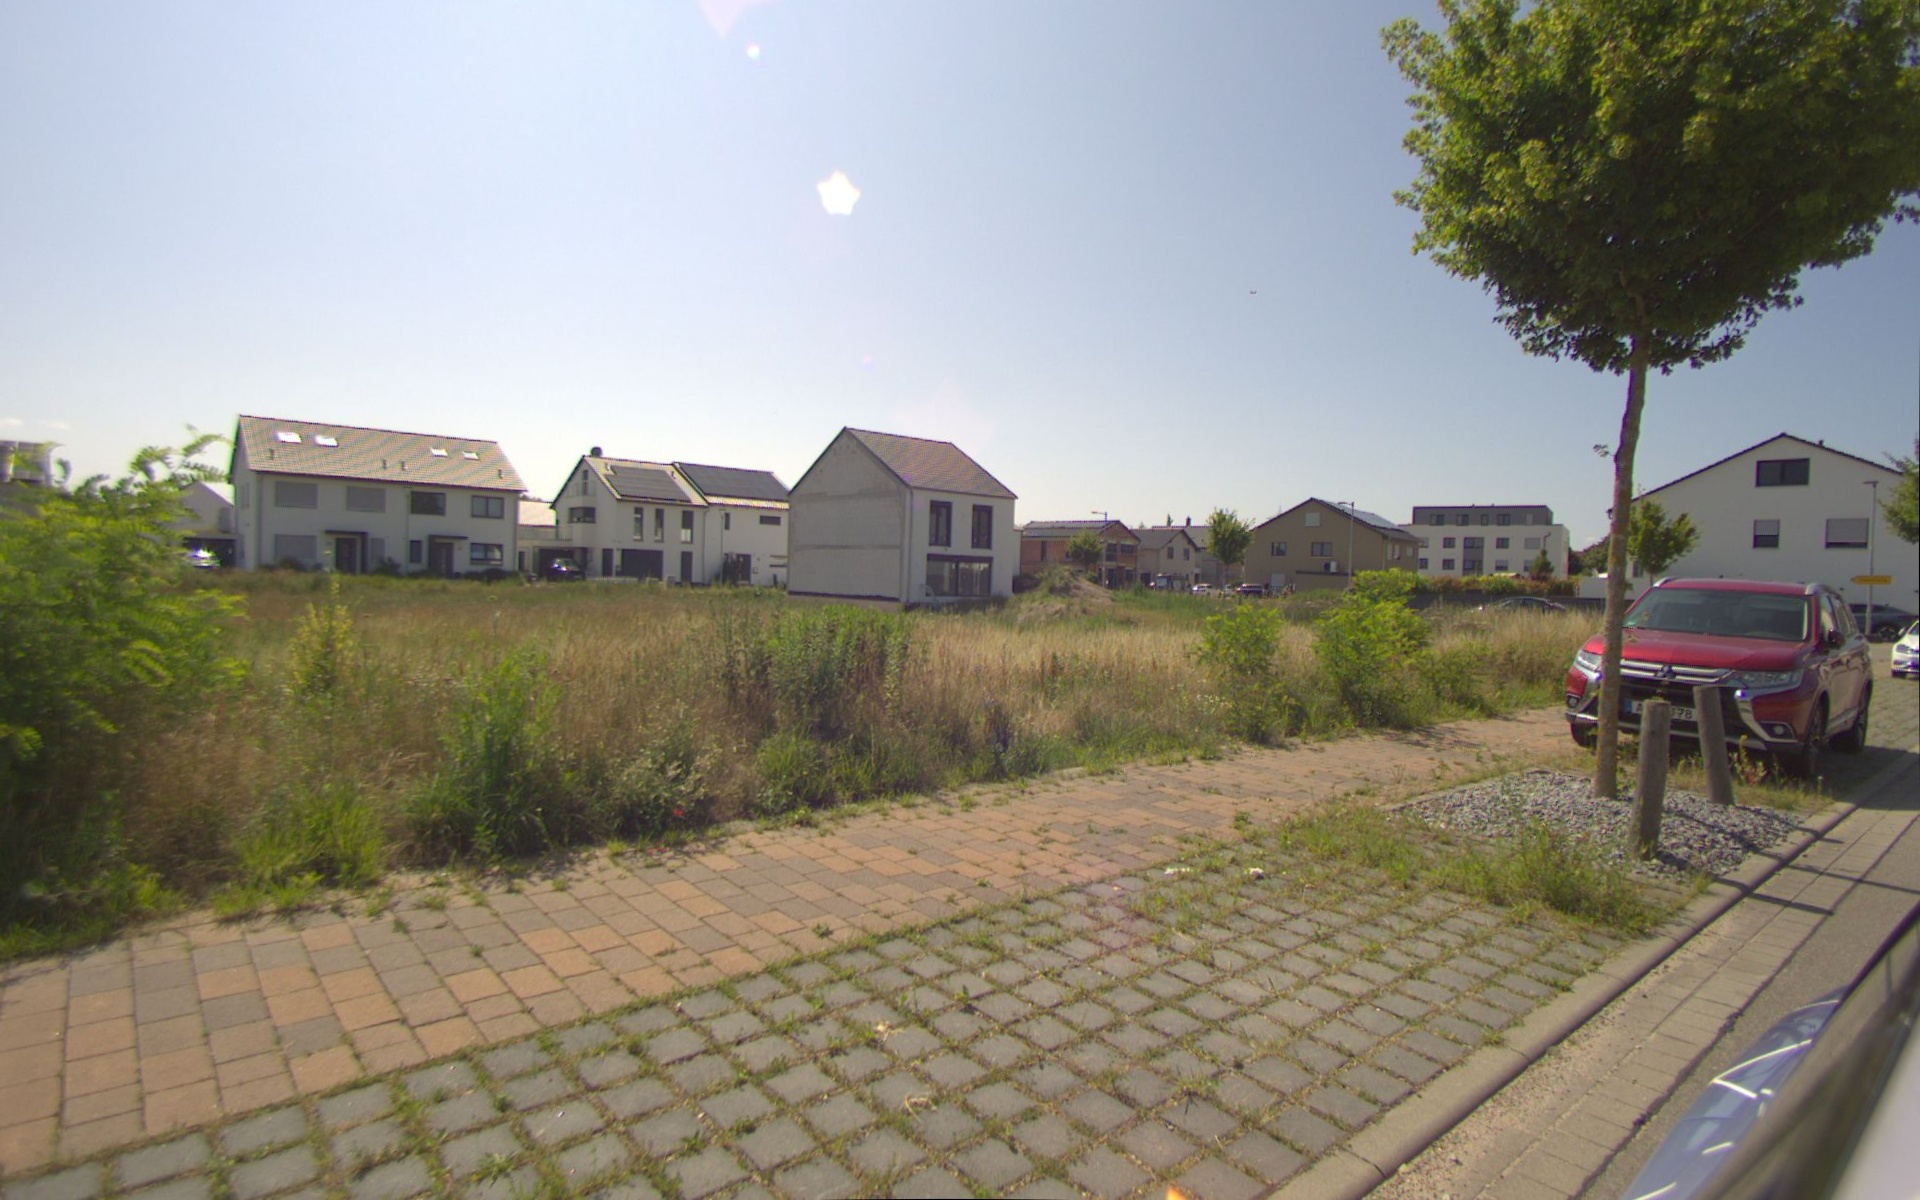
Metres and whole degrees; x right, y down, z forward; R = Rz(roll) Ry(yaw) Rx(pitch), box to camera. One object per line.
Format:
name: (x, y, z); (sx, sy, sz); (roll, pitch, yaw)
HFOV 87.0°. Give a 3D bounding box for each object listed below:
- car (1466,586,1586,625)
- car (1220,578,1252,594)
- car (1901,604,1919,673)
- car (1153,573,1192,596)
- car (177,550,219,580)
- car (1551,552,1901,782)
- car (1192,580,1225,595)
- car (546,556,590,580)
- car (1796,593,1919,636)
car: (24.340, 0.185, 43.592); (4.180, 1.512, 1.821); (2, 2, 43)
car: (28.955, -1.471, 106.007); (1.743, 1.521, 3.942); (3, 2, 40)
car: (22.255, 0.887, 22.250); (4.092, 1.437, 1.780); (1, 3, -40)
car: (20.174, -1.477, 95.921); (1.992, 2.038, 3.942); (3, 2, 40)
car: (-42.363, -1.970, 56.300); (1.781, 1.593, 3.999); (1, 2, -37)
car: (7.464, 0.495, 9.691); (4.356, 1.683, 1.780); (1, 2, -42)
car: (24.871, -1.221, 101.213); (1.661, 1.418, 3.863); (3, 2, 40)
car: (-26.706, -2.184, 68.934); (1.781, 1.531, 3.999); (1, 2, -37)
car: (38.286, 0.596, 42.764); (1.927, 1.577, 4.343); (1, 1, -42)
